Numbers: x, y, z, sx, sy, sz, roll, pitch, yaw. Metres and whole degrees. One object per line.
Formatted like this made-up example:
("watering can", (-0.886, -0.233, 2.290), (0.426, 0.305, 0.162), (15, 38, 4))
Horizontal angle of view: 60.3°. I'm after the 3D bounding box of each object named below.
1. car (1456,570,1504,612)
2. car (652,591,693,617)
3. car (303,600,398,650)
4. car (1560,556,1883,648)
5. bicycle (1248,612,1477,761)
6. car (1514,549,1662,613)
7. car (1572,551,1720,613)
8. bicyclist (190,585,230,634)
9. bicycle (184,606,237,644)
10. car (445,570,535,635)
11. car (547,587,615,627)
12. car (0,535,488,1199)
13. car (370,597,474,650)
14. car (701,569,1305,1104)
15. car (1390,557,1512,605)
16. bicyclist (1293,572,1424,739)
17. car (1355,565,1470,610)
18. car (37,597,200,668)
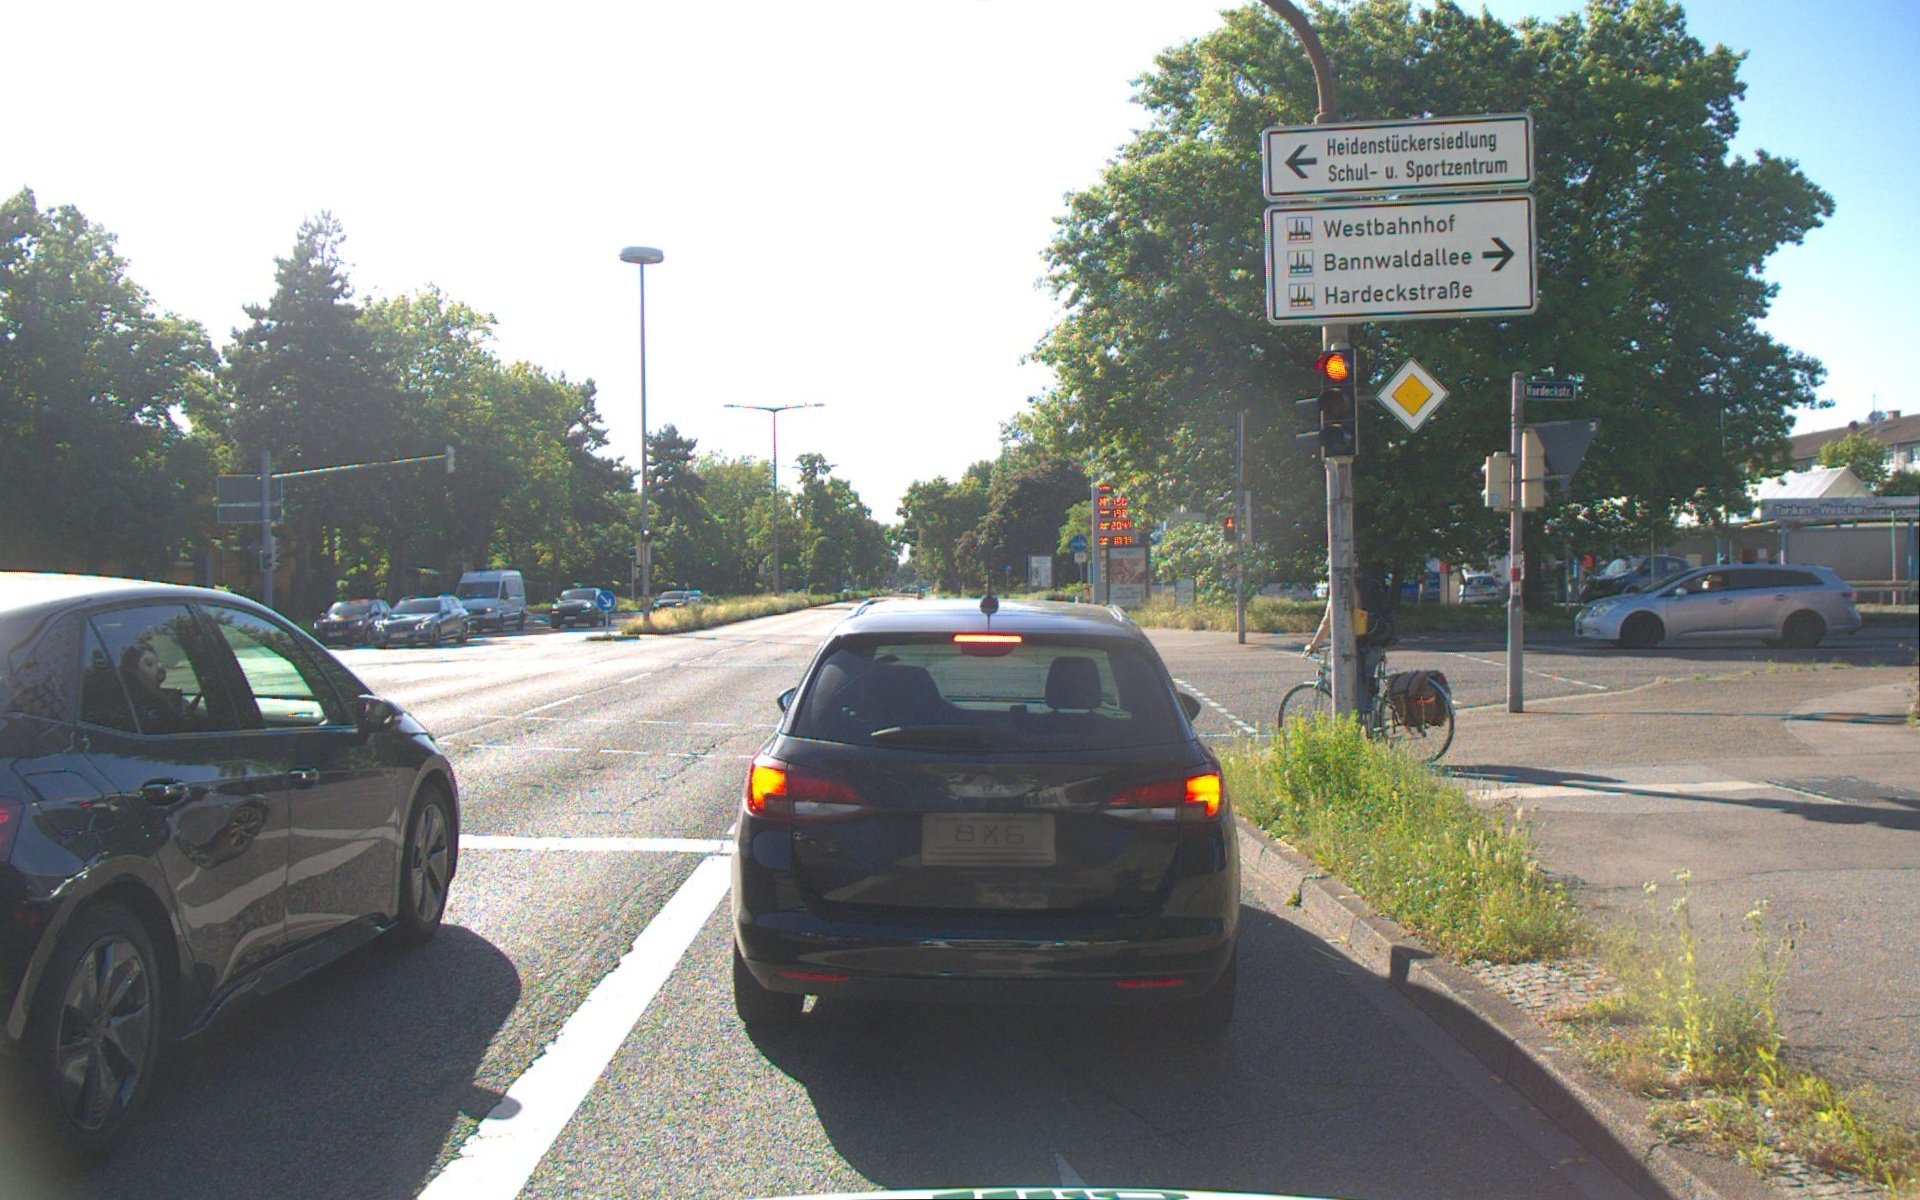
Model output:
("car", (22.312, -0.399, 71.004), (1.702, 1.709, 4.003), (-1, 0, 14))
("car", (-17.220, 0.201, 99.276), (1.740, 1.488, 4.164), (-1, 0, -1))
("car", (-19.990, 0.789, 54.396), (1.652, 1.535, 4.003), (-1, 0, -1))
("car", (13.536, 0.029, 29.702), (4.897, 1.512, 2.002), (-1, 0, 11))
("bicycle", (3.222, 0.699, 13.370), (0.533, 1.117, 1.748), (-2, -2, -44))
("car", (18.990, -0.585, 50.024), (3.935, 1.780, 1.985), (-2, 1, -24))
("car", (19.987, -0.536, 48.194), (3.934, 1.709, 1.732), (-2, 0, -24))
("bicyclist", (-26.434, 0.324, 58.320), (0.858, 1.677, 1.198), (-2, 0, -4))
("bicycle", (-26.420, 0.871, 58.377), (0.858, 1.233, 2.534), (-2, 0, -5))
("car", (-19.637, 0.074, 69.385), (2.057, 2.536, 6.003), (-1, 0, -1))
("car", (-16.596, 0.281, 72.612), (1.953, 1.629, 4.615), (-1, 0, -1))
("car", (-3.003, 0.657, 5.604), (1.650, 1.608, 4.206), (0, 0, -1))
("car", (-16.167, 0.680, 49.901), (1.652, 1.458, 4.614), (-1, 0, -1))
("car", (0.098, 0.683, 6.836), (1.721, 1.521, 4.206), (0, 0, -1))
("car", (16.908, -0.654, 56.983), (3.837, 1.544, 1.732), (-2, 0, -24))
("bicyclist", (3.215, 0.448, 13.372), (0.534, 1.299, 0.816), (-2, -2, -44))
("car", (16.431, -0.467, 60.058), (3.837, 1.544, 1.732), (-2, 0, -24))
("car", (-19.249, 0.697, 38.026), (1.607, 1.481, 4.221), (-1, 0, -1))
